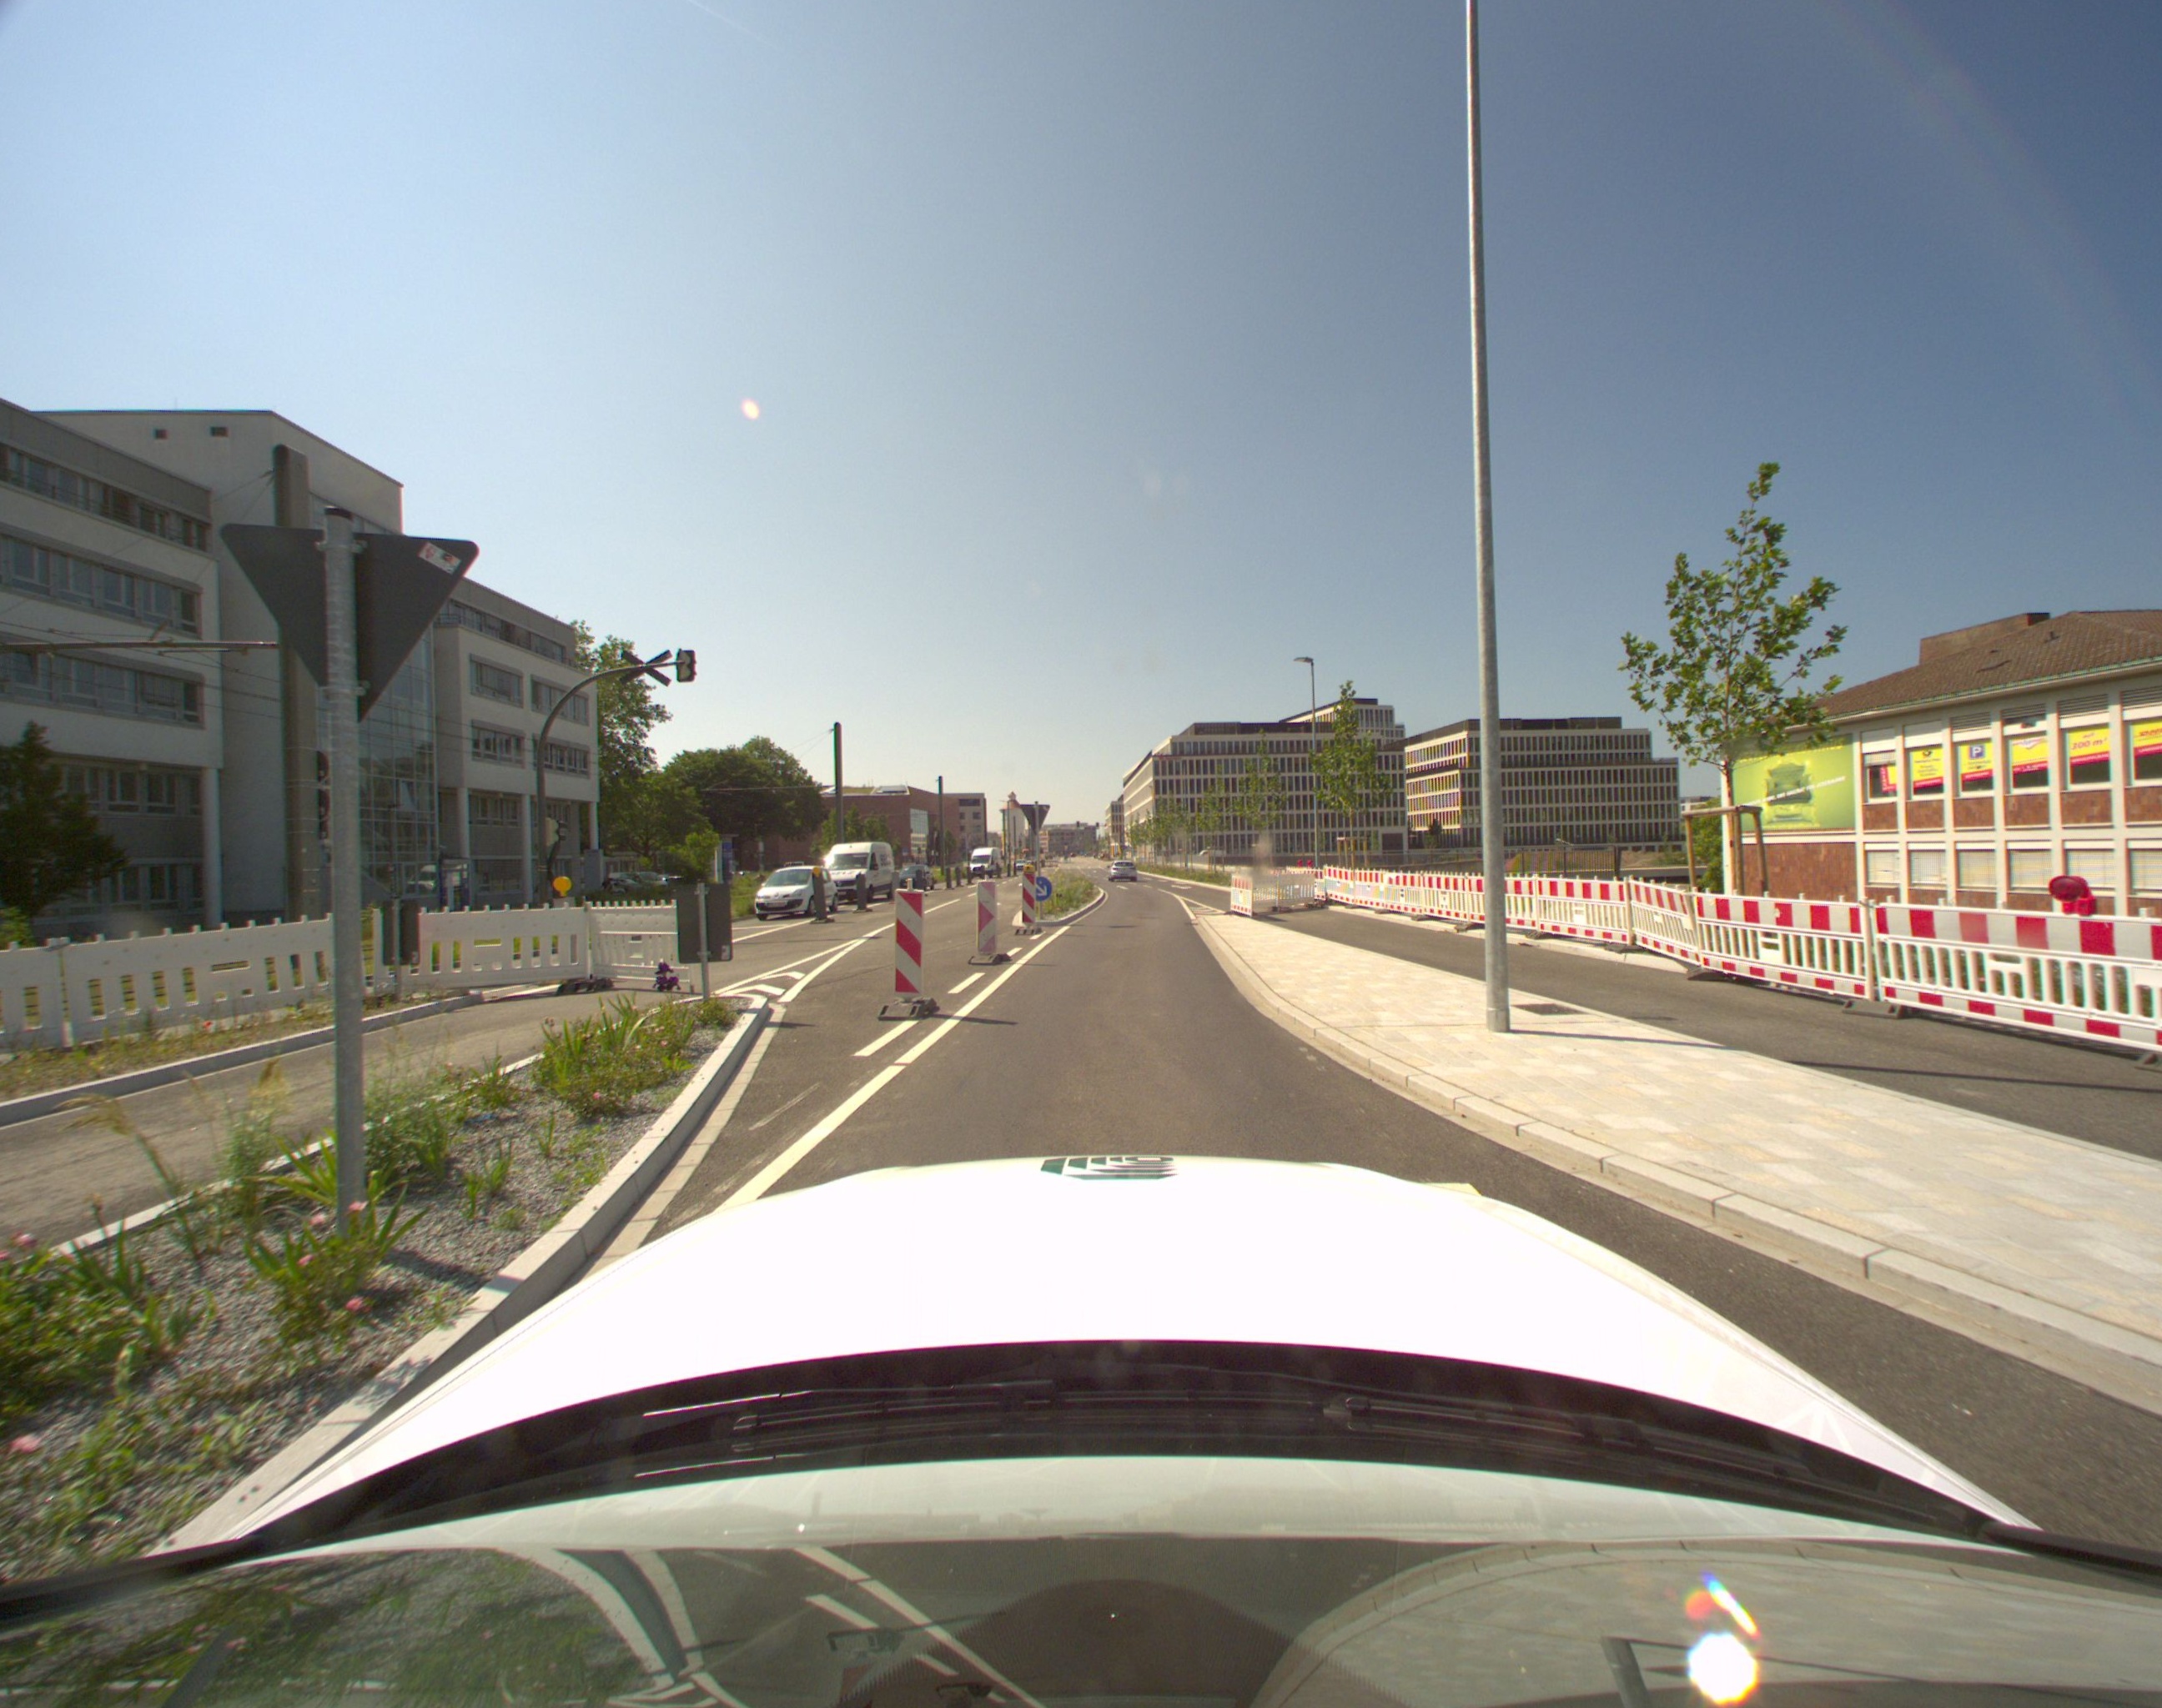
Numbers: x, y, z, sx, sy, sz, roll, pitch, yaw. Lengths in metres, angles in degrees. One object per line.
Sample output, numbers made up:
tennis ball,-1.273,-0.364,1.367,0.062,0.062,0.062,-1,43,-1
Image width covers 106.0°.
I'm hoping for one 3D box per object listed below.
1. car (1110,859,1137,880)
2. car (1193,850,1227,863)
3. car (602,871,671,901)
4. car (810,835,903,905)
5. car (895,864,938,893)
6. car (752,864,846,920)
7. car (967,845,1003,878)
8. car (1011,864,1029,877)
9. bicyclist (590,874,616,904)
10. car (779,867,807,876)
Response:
car,2.897,1.062,55.879,1.765,1.395,3.532,0,-1,1
car,23.403,0.478,148.226,5.820,2.270,2.145,1,0,-1
car,-34.296,2.498,62.837,5.013,2.179,2.126,-1,0,25
car,-9.416,0.655,34.815,2.024,2.578,6.194,-4,-1,0
car,-9.265,1.343,46.235,1.541,1.457,4.191,-4,0,-1
car,-8.937,1.146,26.143,1.576,1.541,3.976,-4,0,-1
car,-8.621,0.655,73.822,2.069,2.740,5.991,-3,0,3
car,-7.441,2.023,99.052,1.667,1.443,4.470,-3,0,2
bicyclist,-25.118,1.835,42.810,0.752,1.539,1.077,-1,-1,0
car,-48.711,2.933,137.881,3.970,1.403,2.002,-1,-1,3
